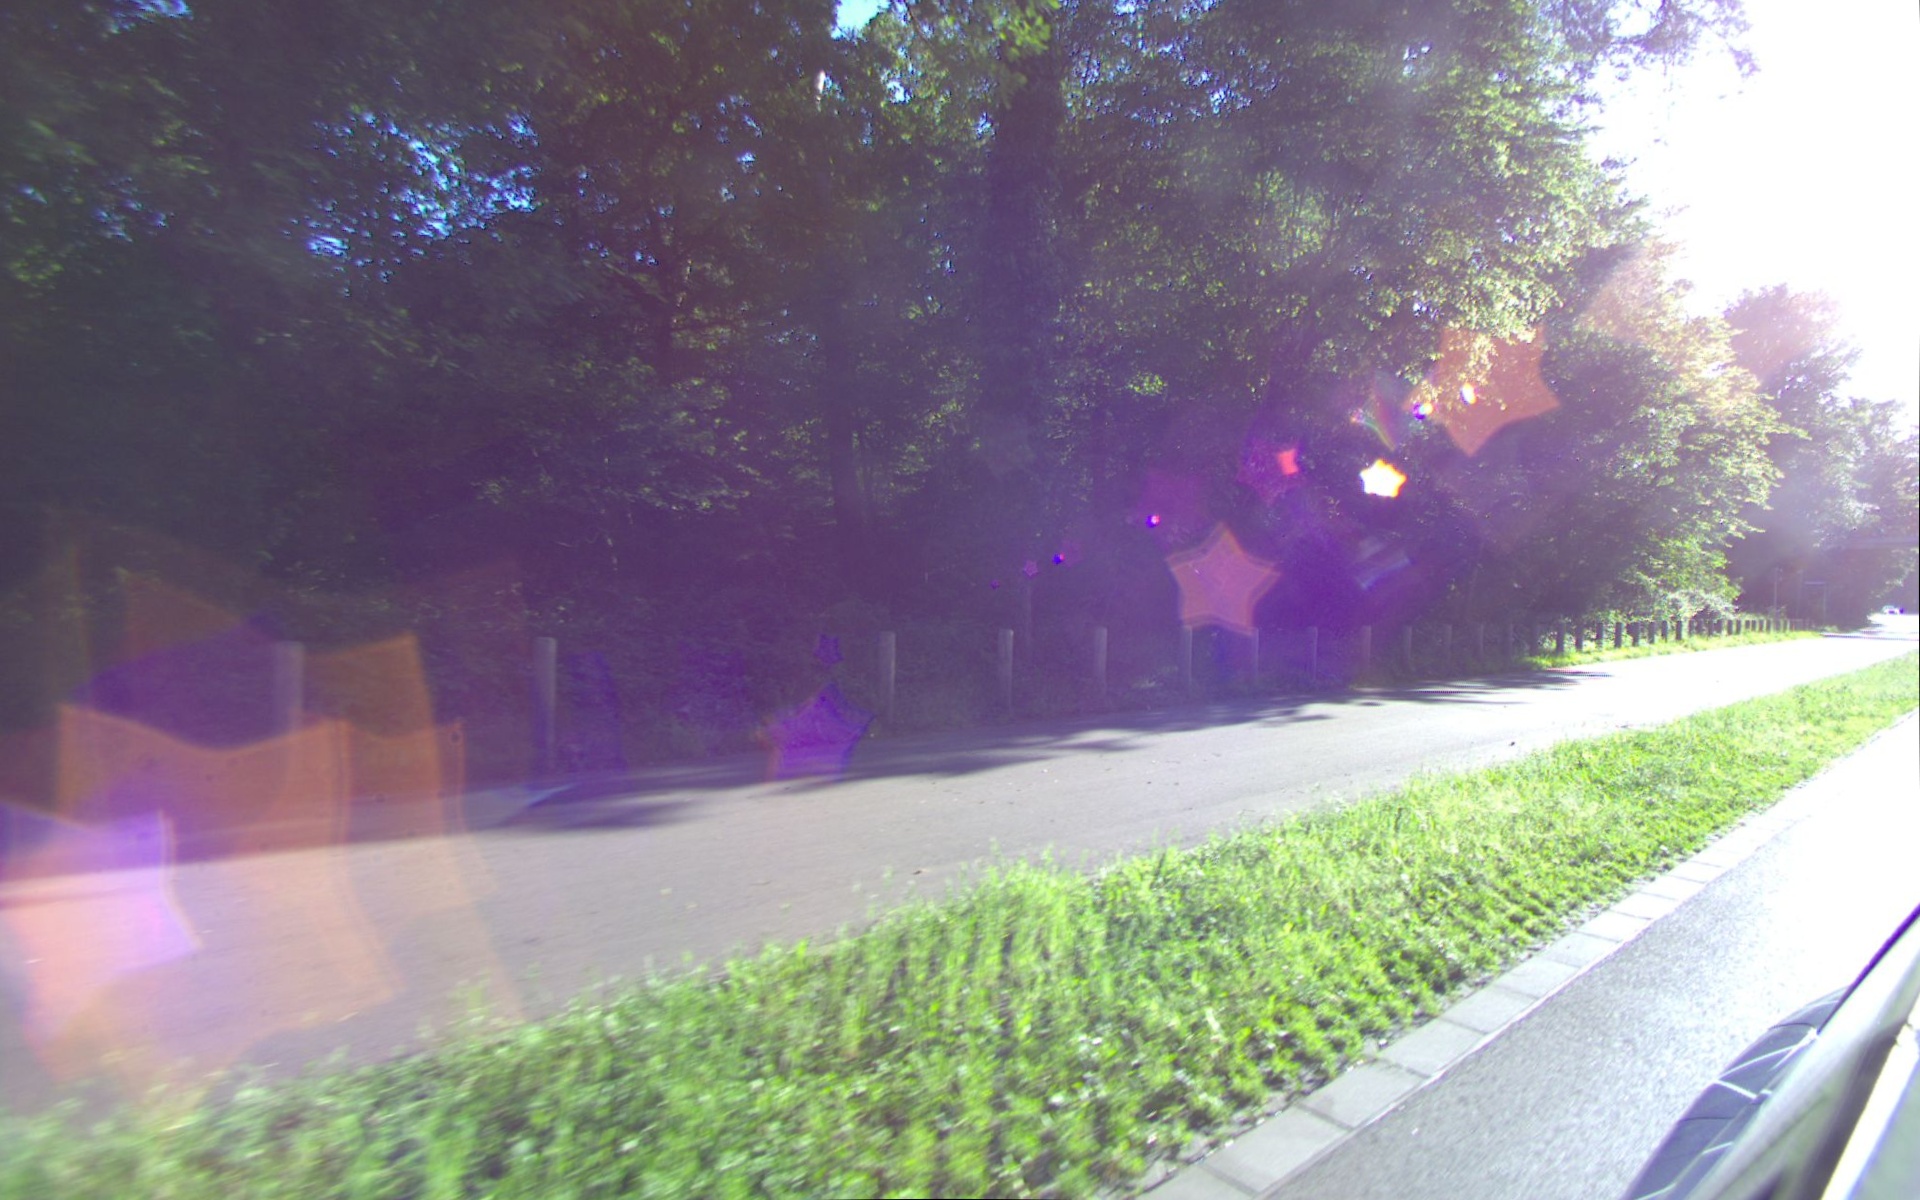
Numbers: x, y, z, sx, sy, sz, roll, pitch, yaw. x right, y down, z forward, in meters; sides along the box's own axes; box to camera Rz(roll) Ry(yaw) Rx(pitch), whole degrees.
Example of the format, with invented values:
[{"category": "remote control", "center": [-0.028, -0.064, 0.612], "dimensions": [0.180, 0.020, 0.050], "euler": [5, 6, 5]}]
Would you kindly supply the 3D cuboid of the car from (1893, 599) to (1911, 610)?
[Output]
[{"category": "car", "center": [165.392, 0.772, 177.745], "dimensions": [1.817, 1.705, 3.946], "euler": [2, 1, 37]}]
